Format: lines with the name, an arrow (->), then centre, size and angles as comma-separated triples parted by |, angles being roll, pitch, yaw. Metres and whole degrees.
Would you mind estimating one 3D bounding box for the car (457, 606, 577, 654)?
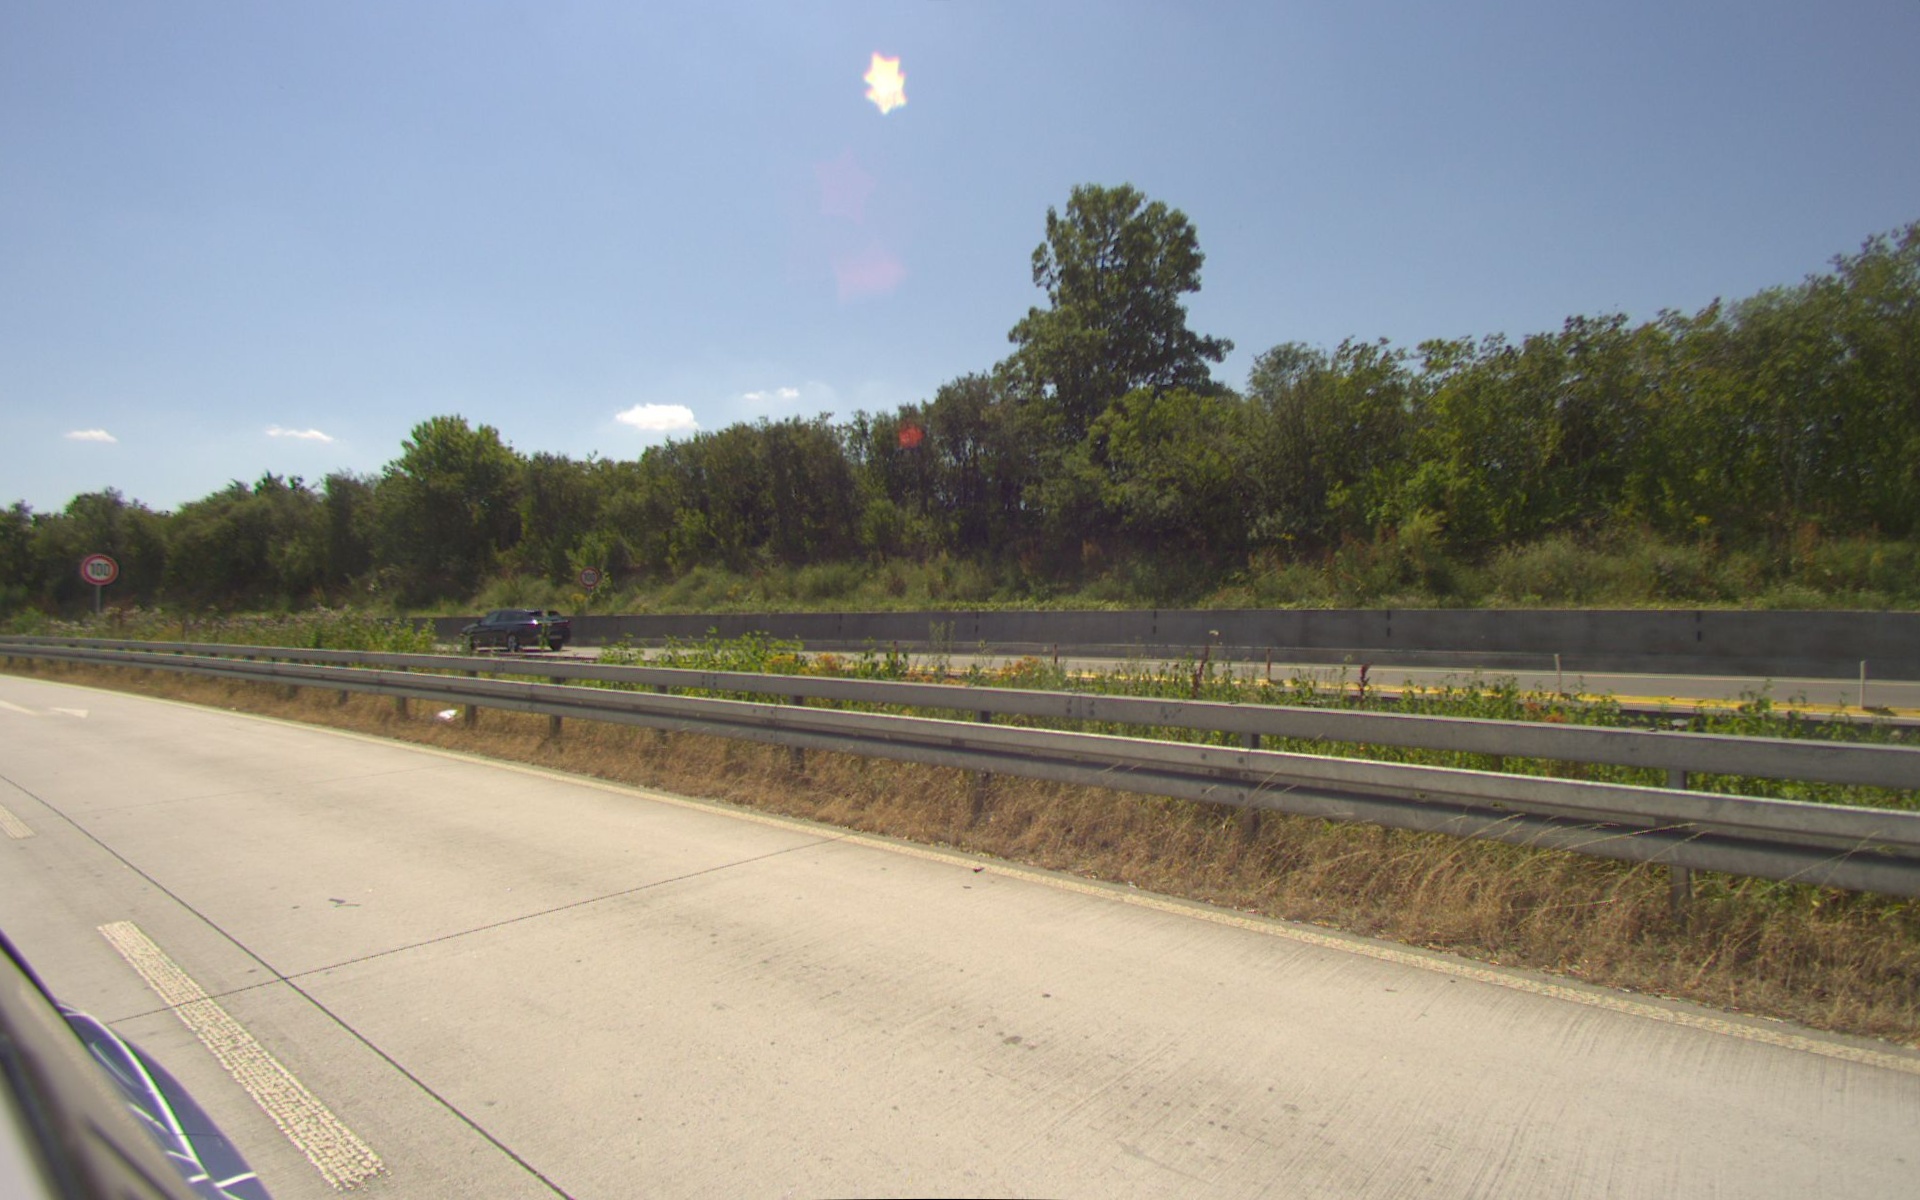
car -> -14.806, 0.961, 33.752 | 4.283, 1.496, 1.697 | 0, 0, 35
